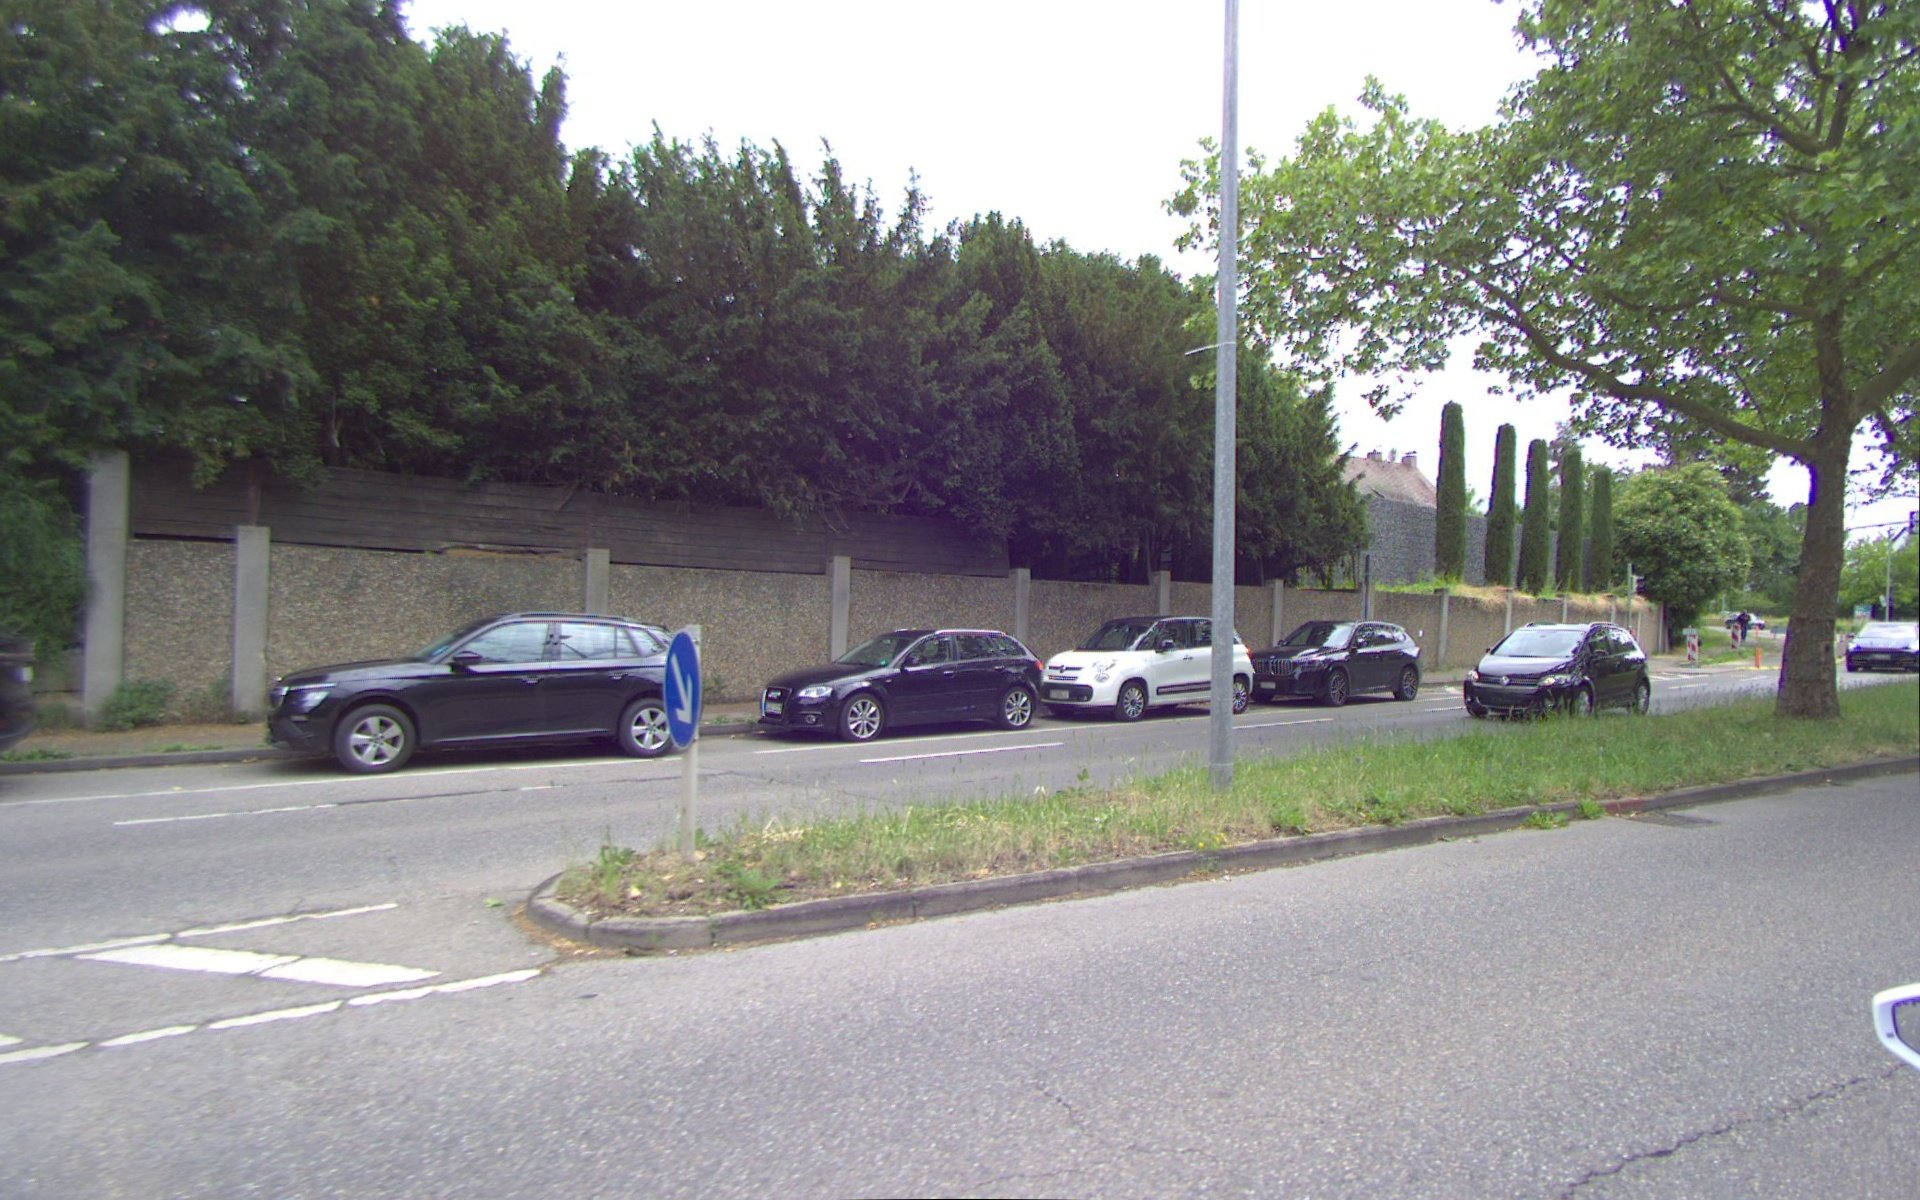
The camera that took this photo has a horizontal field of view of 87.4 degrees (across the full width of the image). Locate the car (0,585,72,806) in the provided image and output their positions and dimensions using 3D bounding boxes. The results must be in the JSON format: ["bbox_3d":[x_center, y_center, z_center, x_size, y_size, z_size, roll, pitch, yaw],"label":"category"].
[{"bbox_3d":[-9.373,0.659,7.128,4.427,1.665,1.978,2,-2,-38],"label":"car"}]

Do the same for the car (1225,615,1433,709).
[{"bbox_3d":[7.428,1.195,20.041,4.392,1.646,1.873,2,-1,-39],"label":"car"}]

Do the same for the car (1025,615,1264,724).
[{"bbox_3d":[3.165,1.102,16.850,4.058,1.613,1.661,2,-2,-37],"label":"car"}]

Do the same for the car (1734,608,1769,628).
[{"bbox_3d":[71.482,1.626,90.764,1.861,1.646,4.421,1,-1,31],"label":"car"}]

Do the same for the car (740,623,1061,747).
[{"bbox_3d":[-0.717,1.086,13.772,4.183,1.419,1.635,2,-1,-37],"label":"car"}]

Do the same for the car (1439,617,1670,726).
[{"bbox_3d":[10.062,1.138,16.915,3.960,1.608,1.984,2,-2,-37],"label":"car"}]

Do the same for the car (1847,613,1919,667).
[{"bbox_3d":[30.609,1.305,32.968,4.401,1.646,1.928,2,-1,-44],"label":"car"}]

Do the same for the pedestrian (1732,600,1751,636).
[{"bbox_3d":[45.564,1.055,58.580,0.731,2.041,0.629,4,4,44],"label":"pedestrian"}]

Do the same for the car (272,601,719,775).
[{"bbox_3d":[-4.908,0.856,10.827,4.065,1.531,1.933,2,-2,-37],"label":"car"}]
